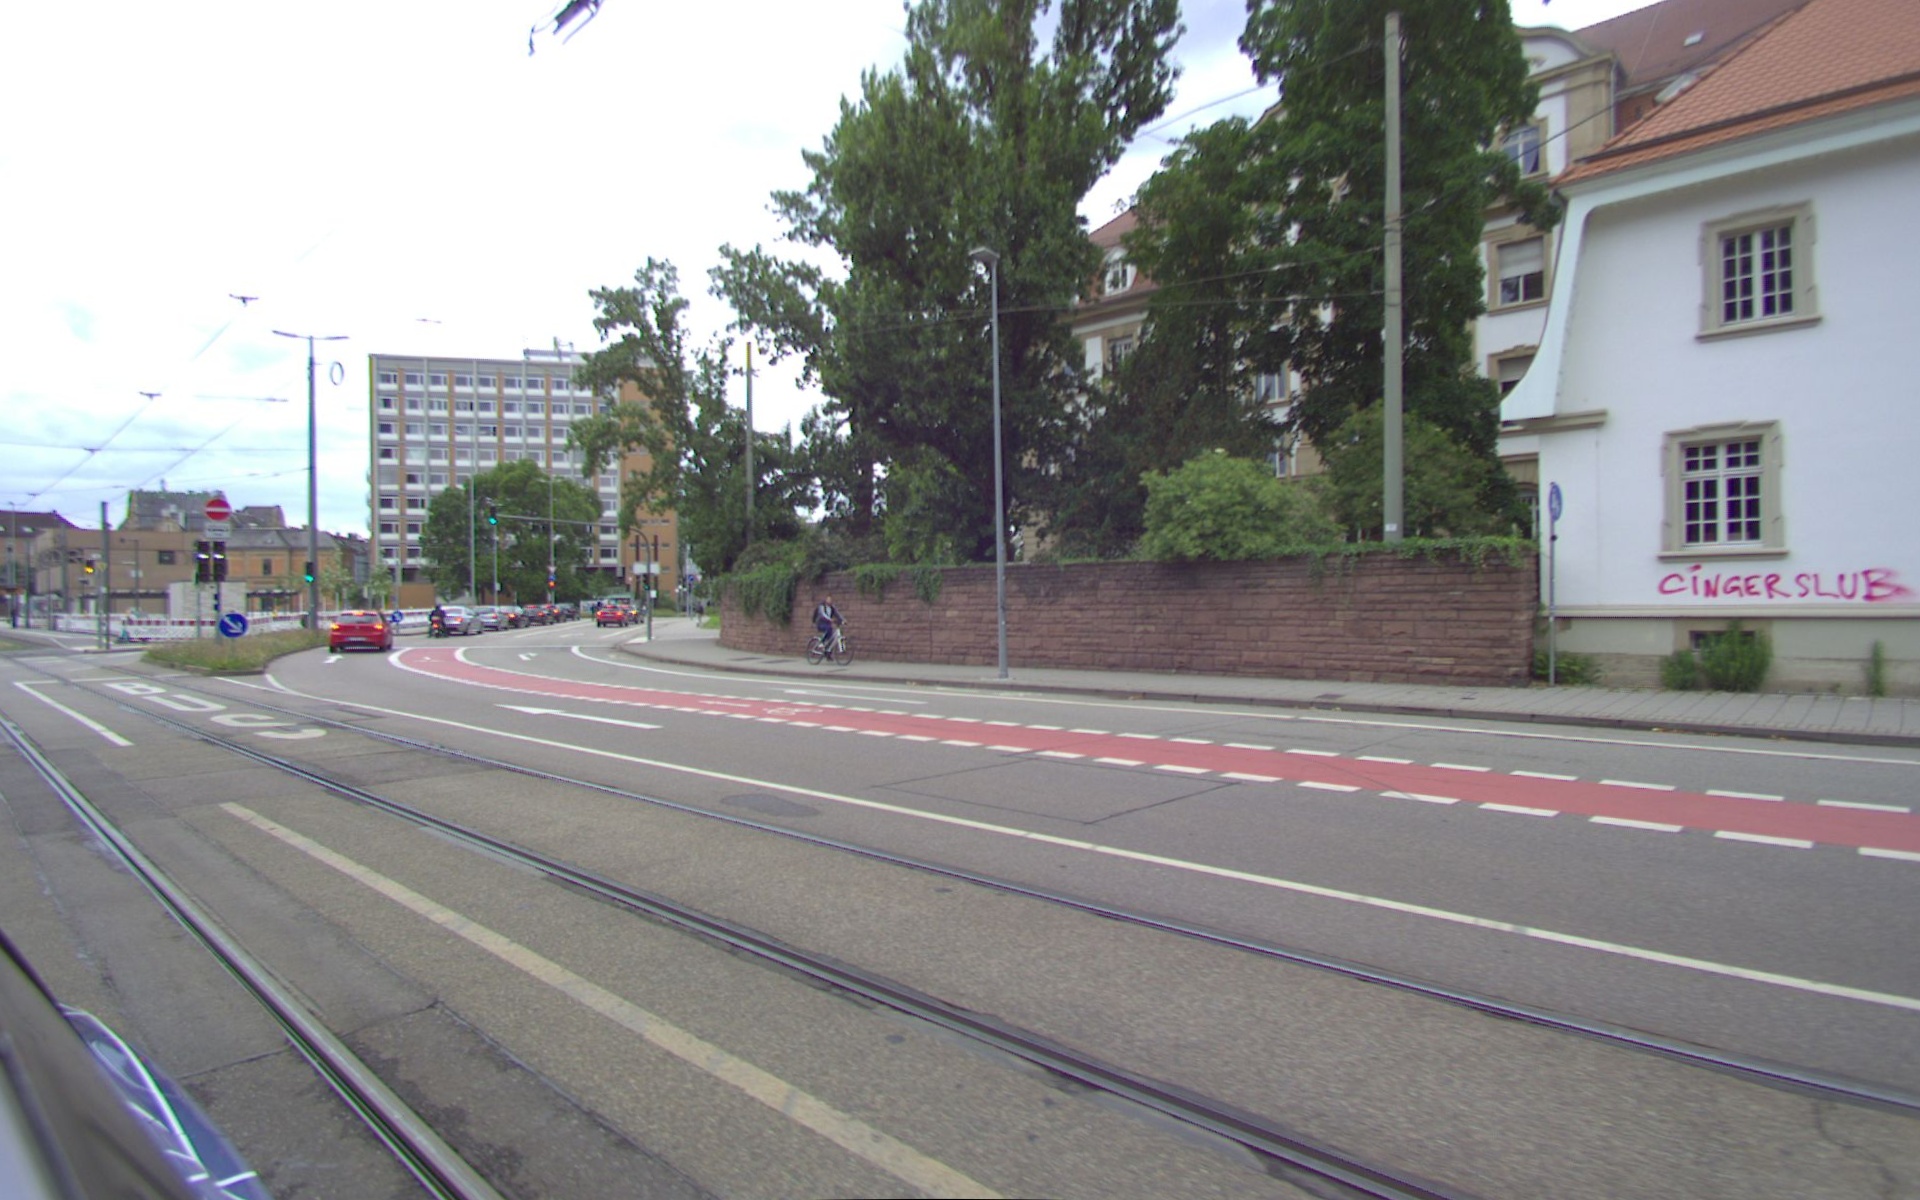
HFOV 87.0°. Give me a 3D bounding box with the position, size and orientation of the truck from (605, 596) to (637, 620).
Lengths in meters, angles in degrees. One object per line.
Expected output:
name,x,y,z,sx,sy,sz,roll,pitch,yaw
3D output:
truck,-44.045,1.036,131.767,3.436,3.002,7.634,-1,0,-15

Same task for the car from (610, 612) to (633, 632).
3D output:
car,-26.180,1.681,78.184,1.558,1.408,4.013,-1,0,-20

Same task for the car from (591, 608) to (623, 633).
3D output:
car,-24.236,1.380,69.671,1.802,1.594,4.011,-1,0,-15

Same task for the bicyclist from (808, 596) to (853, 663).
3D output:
bicyclist,-3.339,0.749,26.117,0.869,1.703,0.765,-1,-1,43

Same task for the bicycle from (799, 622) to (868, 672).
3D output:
bicycle,-3.267,1.182,26.046,1.869,1.221,0.765,-1,-1,44

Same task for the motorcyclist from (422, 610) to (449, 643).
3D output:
motorcyclist,-24.848,1.235,47.982,1.058,1.497,1.255,-1,0,-24

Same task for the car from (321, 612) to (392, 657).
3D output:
car,-21.270,1.183,35.808,1.731,1.510,4.013,1,-1,-25

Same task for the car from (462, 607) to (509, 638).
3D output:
car,-27.611,1.287,59.033,1.658,1.663,3.991,-1,0,-13

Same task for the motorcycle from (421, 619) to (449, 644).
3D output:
motorcycle,-24.617,1.460,47.509,1.038,1.077,2.657,-1,0,-25

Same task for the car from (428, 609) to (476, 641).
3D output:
car,-25.830,1.240,51.512,1.470,1.520,3.479,-1,0,-14

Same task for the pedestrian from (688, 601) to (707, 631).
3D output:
pedestrian,-16.401,0.967,63.218,1.073,1.854,0.907,-1,0,-18

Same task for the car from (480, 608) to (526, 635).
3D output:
car,-28.950,1.329,64.234,1.757,1.623,4.335,-1,0,-12

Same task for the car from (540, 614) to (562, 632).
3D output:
car,-31.451,1.750,77.885,1.391,1.342,3.321,-1,0,-19

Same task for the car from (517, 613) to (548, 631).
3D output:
car,-29.720,1.488,70.430,1.401,1.179,3.078,-1,0,-11

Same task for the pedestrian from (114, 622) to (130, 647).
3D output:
pedestrian,-36.487,1.516,44.068,0.537,1.064,0.638,-1,0,-39
